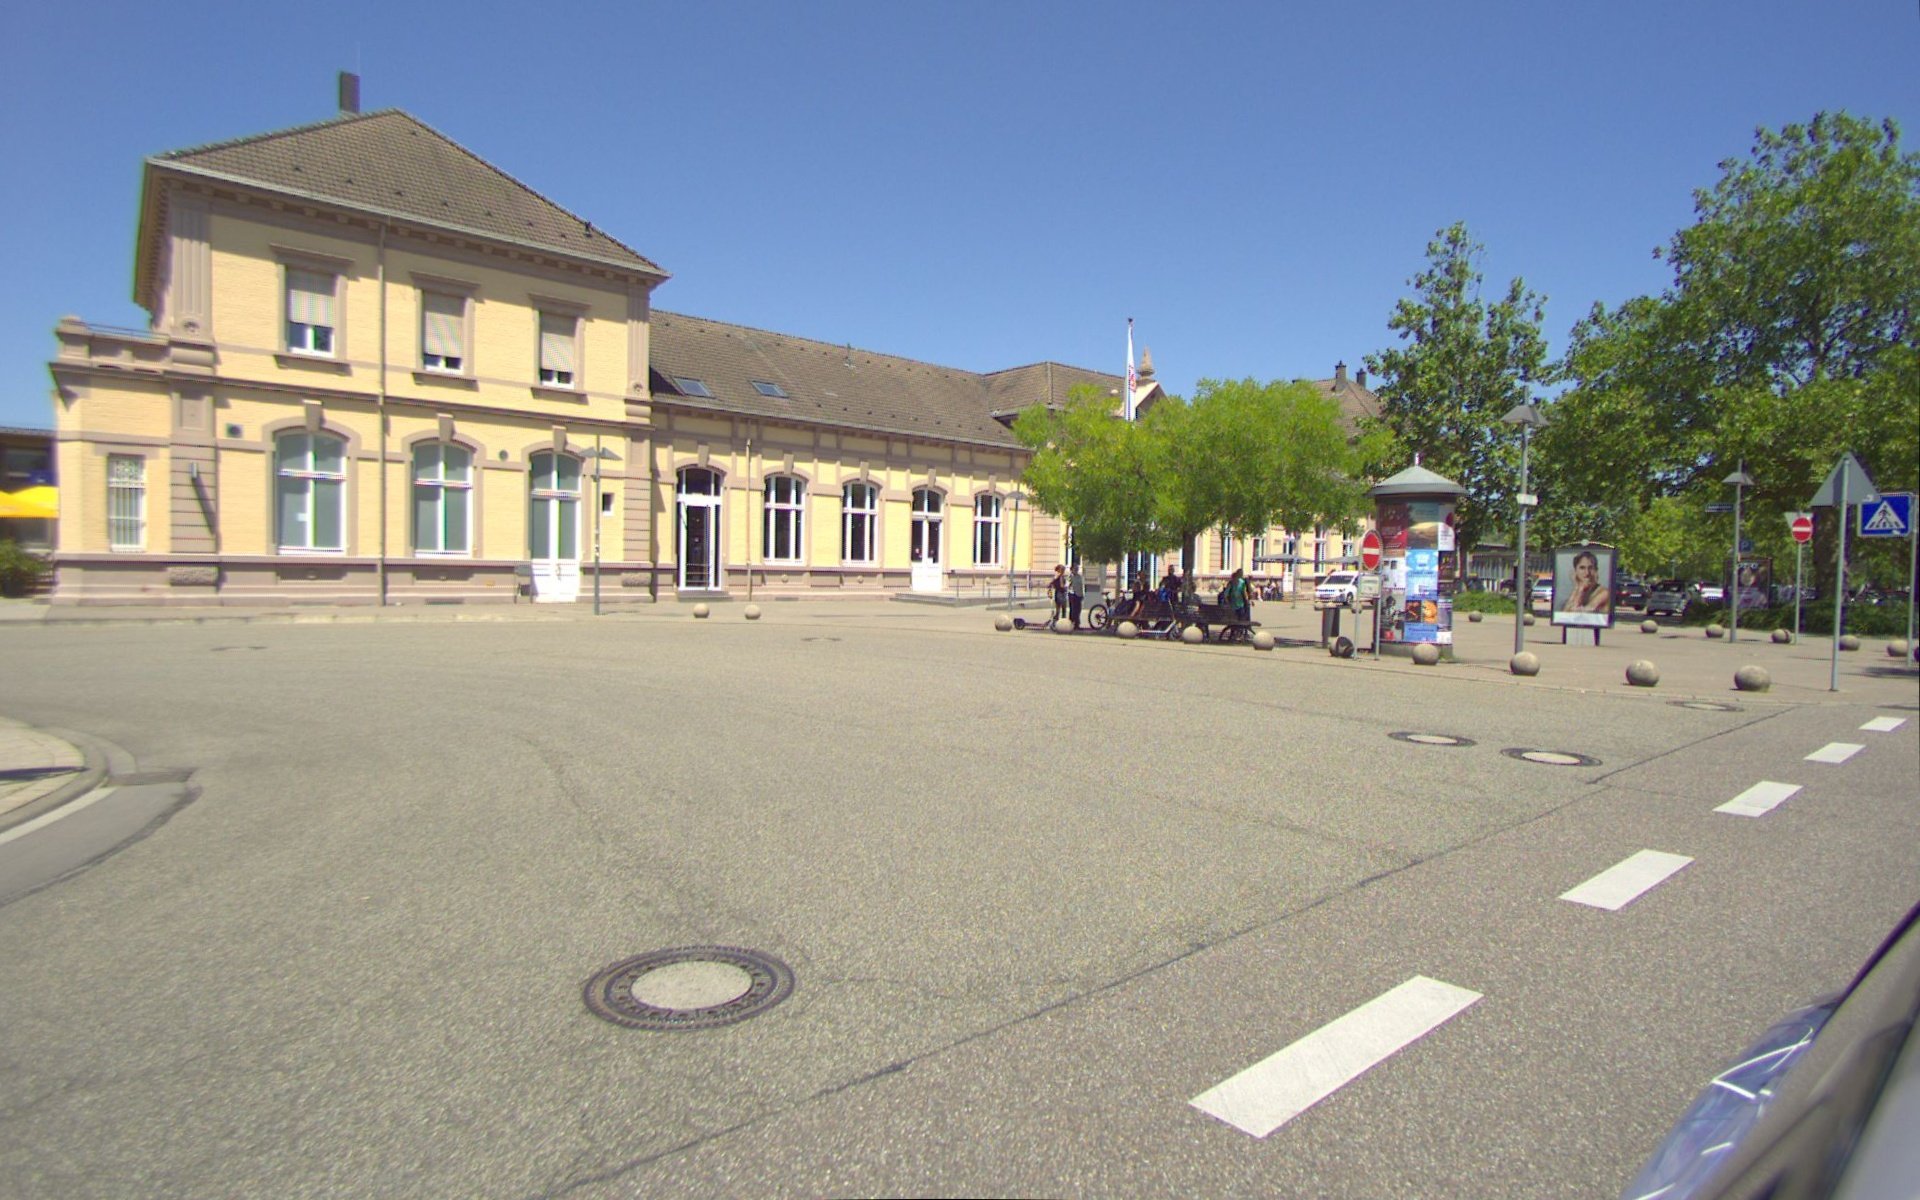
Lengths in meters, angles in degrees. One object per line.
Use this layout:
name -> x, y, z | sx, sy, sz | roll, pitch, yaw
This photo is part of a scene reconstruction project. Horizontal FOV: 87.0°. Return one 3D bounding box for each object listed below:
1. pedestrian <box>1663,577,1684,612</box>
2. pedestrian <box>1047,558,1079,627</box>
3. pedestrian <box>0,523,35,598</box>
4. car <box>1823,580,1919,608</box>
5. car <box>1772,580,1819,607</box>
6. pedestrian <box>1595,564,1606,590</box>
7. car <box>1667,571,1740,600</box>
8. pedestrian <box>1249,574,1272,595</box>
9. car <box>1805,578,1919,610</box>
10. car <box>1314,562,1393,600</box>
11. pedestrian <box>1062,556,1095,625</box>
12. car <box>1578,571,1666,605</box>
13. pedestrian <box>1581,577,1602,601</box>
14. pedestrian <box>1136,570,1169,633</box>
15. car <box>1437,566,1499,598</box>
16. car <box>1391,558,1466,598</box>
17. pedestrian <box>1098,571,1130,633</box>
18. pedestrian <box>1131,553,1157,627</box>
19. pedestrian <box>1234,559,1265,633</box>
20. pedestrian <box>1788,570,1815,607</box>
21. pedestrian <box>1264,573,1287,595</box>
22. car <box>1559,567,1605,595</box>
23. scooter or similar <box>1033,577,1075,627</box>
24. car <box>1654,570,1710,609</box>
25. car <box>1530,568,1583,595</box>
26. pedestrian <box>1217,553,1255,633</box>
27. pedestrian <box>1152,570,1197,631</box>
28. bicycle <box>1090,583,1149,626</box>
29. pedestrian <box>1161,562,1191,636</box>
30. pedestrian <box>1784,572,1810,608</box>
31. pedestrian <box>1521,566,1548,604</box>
pedestrian -> 33.184, -0.258, 47.058 | 0.582, 1.567, 0.607 | 2, 2, 17
pedestrian -> 2.575, -0.197, 25.191 | 0.552, 1.706, 0.579 | 2, 2, 37
pedestrian -> -24.469, -1.016, 25.967 | 1.064, 1.870, 1.081 | 0, 2, -43
car -> 52.029, -0.374, 57.791 | 3.831, 1.478, 1.625 | 2, 2, 22
car -> 62.347, -0.522, 75.562 | 1.721, 1.917, 3.965 | 2, 2, 26
pedestrian -> 48.844, -1.756, 77.159 | 0.627, 2.015, 0.607 | 0, 0, 44
car -> 46.710, -0.938, 63.669 | 1.768, 1.624, 4.061 | 0, 3, 4
pedestrian -> 16.483, -0.875, 55.601 | 0.838, 1.093, 0.880 | 0, 4, -44
car -> 45.195, -0.326, 50.234 | 4.740, 1.434, 1.767 | 2, 2, 31
car -> 20.515, -0.967, 52.658 | 5.052, 1.889, 1.811 | 0, 1, -43
pedestrian -> 3.003, -0.243, 25.654 | 0.616, 1.706, 0.583 | 2, 2, 37
car -> 34.516, -0.681, 52.943 | 1.768, 1.561, 4.529 | 0, 3, 3
pedestrian -> 38.780, -0.699, 62.178 | 0.785, 1.442, 0.692 | 1, 1, -5
pedestrian -> 4.335, 0.026, 22.777 | 0.592, 1.381, 0.595 | 2, 1, 21
car -> 31.211, -1.091, 62.135 | 2.074, 1.863, 4.763 | 1, 1, 44
car -> 26.574, -1.199, 57.324 | 2.087, 2.151, 5.732 | 1, 1, 44
pedestrian -> 3.532, 0.038, 23.184 | 0.592, 1.381, 0.595 | 2, 1, 21
pedestrian -> 4.465, -0.255, 24.588 | 0.506, 1.761, 0.567 | 1, 1, 20
pedestrian -> 6.996, -0.103, 24.430 | 0.621, 1.761, 0.543 | 1, 1, 24
pedestrian -> 42.315, -0.582, 50.903 | 0.831, 1.792, 0.843 | 2, 2, 29
pedestrian -> 17.126, -0.864, 54.915 | 0.838, 1.176, 0.880 | 0, 4, -44
car -> 46.494, -1.408, 75.625 | 1.998, 2.015, 4.530 | 0, 1, 44
scooter or similar -> 2.225, 0.028, 24.050 | 1.024, 1.153, 0.290 | 2, 2, 43
car -> 31.894, -0.484, 44.670 | 1.596, 1.613, 3.058 | 2, 2, 43
car -> 41.916, -1.288, 71.070 | 1.998, 1.863, 5.234 | 0, 1, 44
pedestrian -> 6.282, -0.168, 23.012 | 0.688, 1.785, 0.579 | 2, 2, 31
pedestrian -> 5.035, -0.005, 23.764 | 0.901, 1.403, 0.938 | 1, 2, 20
bicycle -> 4.240, 0.098, 26.794 | 1.916, 1.073, 0.421 | -1, 2, -43
pedestrian -> 5.292, -0.038, 24.806 | 0.579, 1.761, 0.595 | 1, 1, 24
pedestrian -> 42.819, -0.536, 51.799 | 0.832, 1.792, 0.843 | 2, 2, 31
pedestrian -> 26.403, -0.697, 46.515 | 0.759, 1.738, 0.814 | 1, 1, 3
